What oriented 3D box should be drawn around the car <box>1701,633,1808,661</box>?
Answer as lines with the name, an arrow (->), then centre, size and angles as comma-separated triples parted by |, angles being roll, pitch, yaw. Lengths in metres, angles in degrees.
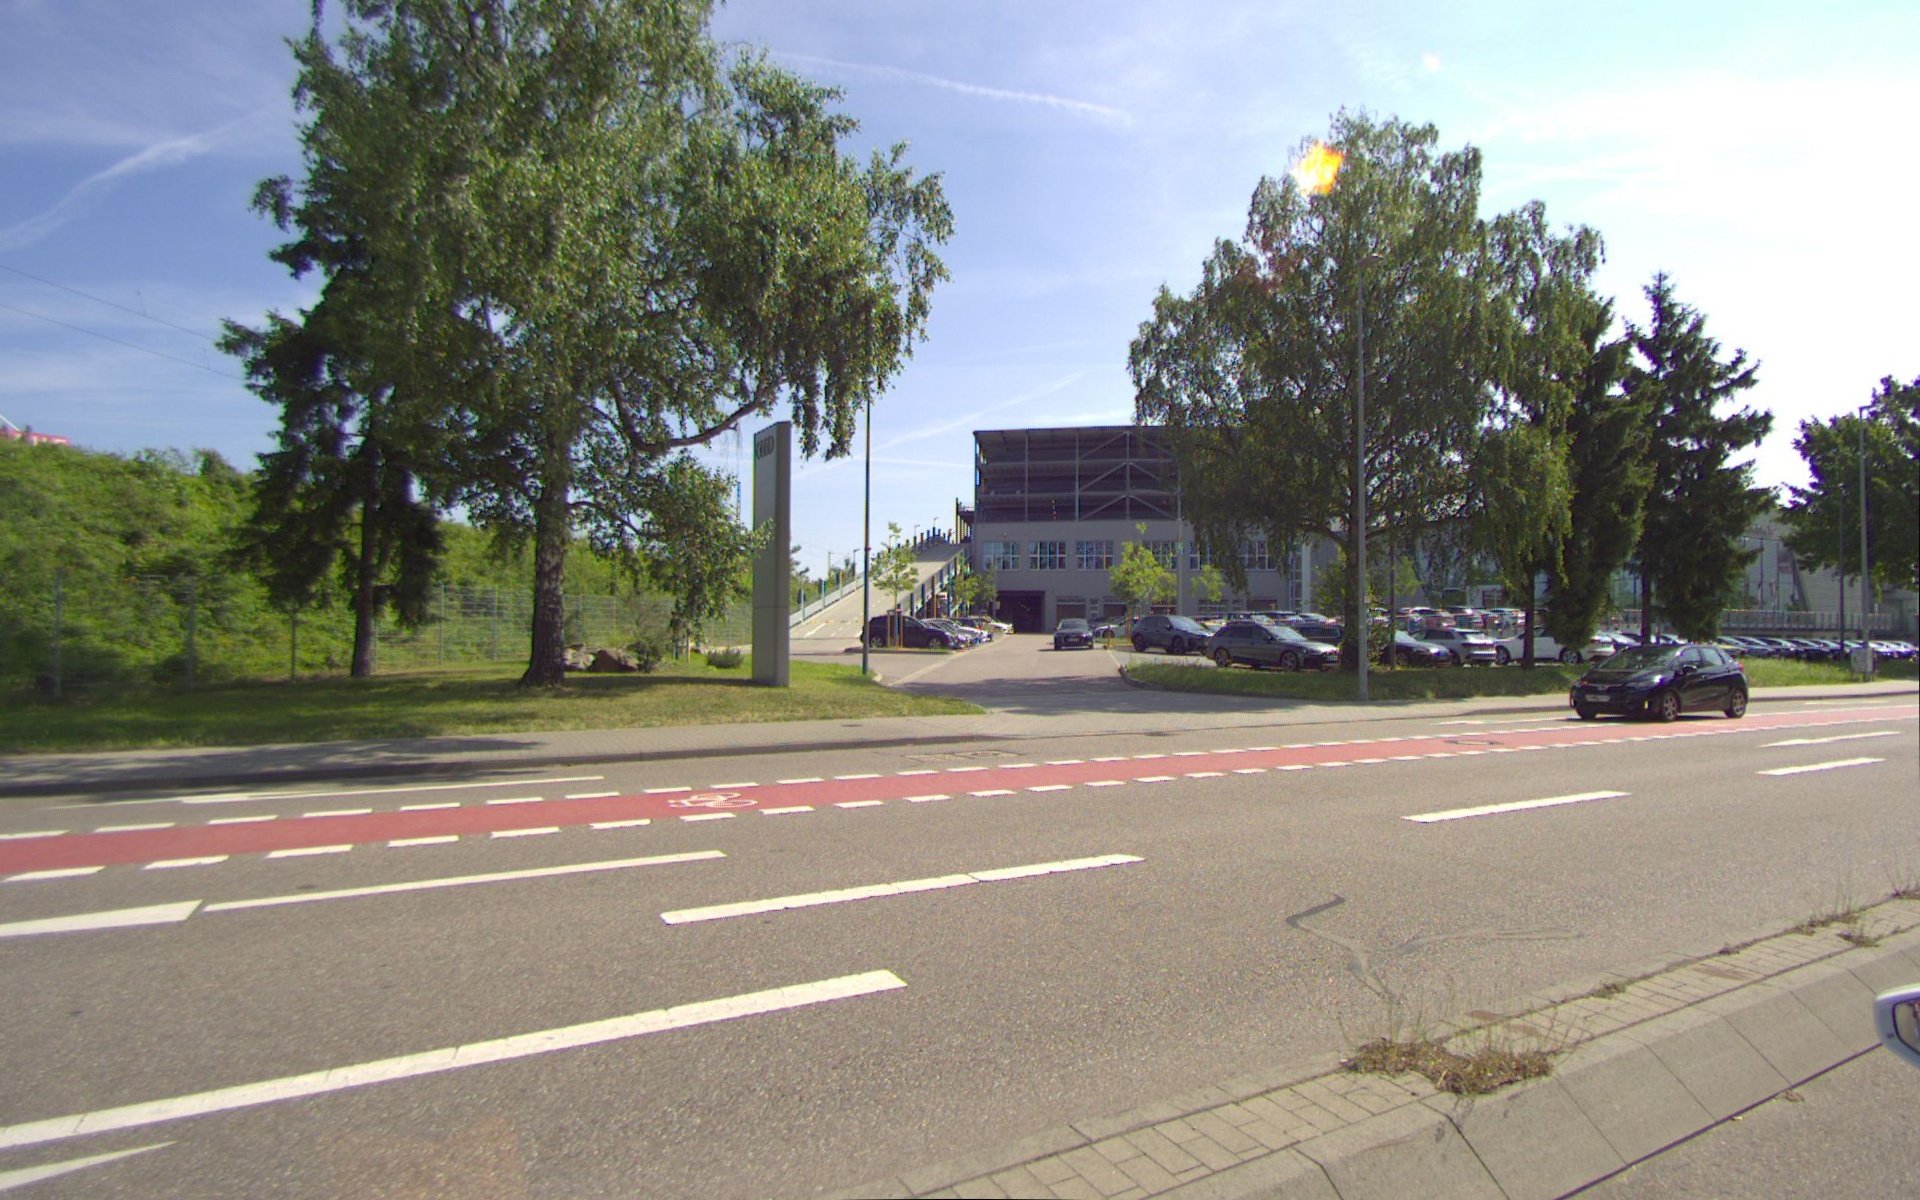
car -> 39.017, 2.335, 49.388 | 1.963, 1.302, 3.662 | 1, -4, -31

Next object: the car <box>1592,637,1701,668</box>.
car -> 30.188, 2.328, 44.250 | 1.724, 1.302, 3.577 | 1, -4, -31

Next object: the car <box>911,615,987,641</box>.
car -> -0.677, 1.846, 65.929 | 4.862, 1.569, 2.000 | 1, 0, 1

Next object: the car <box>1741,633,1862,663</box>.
car -> 43.753, 2.470, 52.338 | 1.898, 1.495, 4.477 | 1, -2, -31

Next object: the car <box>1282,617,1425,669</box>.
car -> 13.104, 1.396, 33.689 | 1.976, 1.567, 4.195 | 1, 0, -29

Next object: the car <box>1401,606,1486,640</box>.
car -> 30.115, 1.459, 62.690 | 1.957, 1.988, 4.477 | 1, -2, -31

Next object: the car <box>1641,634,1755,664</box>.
car -> 34.498, 2.308, 47.053 | 1.819, 1.358, 3.869 | 1, -4, -31

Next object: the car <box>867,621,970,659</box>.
car -> -1.906, 1.854, 47.322 | 4.666, 1.639, 2.001 | 1, 0, 3

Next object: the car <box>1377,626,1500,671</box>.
car -> 18.091, 1.796, 38.126 | 1.822, 1.506, 3.974 | 1, 0, -25

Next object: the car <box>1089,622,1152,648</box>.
car -> 10.627, 2.308, 66.843 | 3.920, 1.679, 2.001 | 0, -2, 2

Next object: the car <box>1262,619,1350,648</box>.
car -> 19.265, 1.855, 56.112 | 1.869, 1.437, 4.477 | 1, 0, -31

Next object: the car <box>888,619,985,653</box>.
car -> -1.140, 1.759, 50.043 | 4.666, 1.545, 2.001 | 1, 0, 3

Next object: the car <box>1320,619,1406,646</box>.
car -> 23.599, 1.914, 58.998 | 1.957, 1.504, 4.477 | 1, -2, -31

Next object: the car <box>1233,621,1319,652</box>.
car -> 17.042, 1.944, 54.404 | 1.978, 1.496, 4.179 | 1, 0, -32

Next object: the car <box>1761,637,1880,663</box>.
car -> 45.948, 2.653, 53.730 | 1.898, 1.307, 4.477 | 1, -2, -31

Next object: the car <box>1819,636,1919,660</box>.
car -> 52.168, 2.725, 57.307 | 1.898, 1.307, 4.477 | 1, -2, -31

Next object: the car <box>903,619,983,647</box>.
car -> -0.969, 1.971, 60.455 | 4.666, 1.567, 1.815 | 1, 0, 3

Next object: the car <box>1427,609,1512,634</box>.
car -> 32.476, 1.406, 64.146 | 1.957, 1.571, 4.477 | 1, -2, -31

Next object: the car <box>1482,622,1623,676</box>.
car -> 23.385, 1.888, 39.806 | 1.975, 1.900, 4.445 | 1, 0, -28

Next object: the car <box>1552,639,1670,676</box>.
car -> 26.986, 2.349, 41.755 | 1.724, 1.302, 3.772 | 1, 0, -31

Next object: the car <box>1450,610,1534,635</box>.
car -> 34.611, 1.488, 65.467 | 1.957, 1.504, 4.477 | 1, -2, -31

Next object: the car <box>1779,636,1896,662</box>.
car -> 47.687, 2.644, 54.675 | 1.898, 1.307, 4.477 | 1, -2, -31

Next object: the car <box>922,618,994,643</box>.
car -> -0.108, 2.084, 68.937 | 4.862, 1.569, 2.000 | 1, 0, 1

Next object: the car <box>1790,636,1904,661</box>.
car -> 49.573, 2.693, 56.238 | 1.672, 1.307, 4.477 | 1, -2, -31

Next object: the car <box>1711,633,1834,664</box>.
car -> 41.307, 2.432, 51.170 | 1.957, 1.495, 4.477 | 1, -2, -31

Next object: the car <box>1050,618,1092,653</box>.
car -> 5.283, 1.659, 48.281 | 1.628, 1.567, 4.037 | 1, -1, 1

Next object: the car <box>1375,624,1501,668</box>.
car -> 16.816, 1.582, 35.478 | 1.795, 1.389, 3.664 | 1, 0, -29

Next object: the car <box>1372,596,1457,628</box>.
car -> 27.761, 0.771, 61.510 | 1.957, 1.839, 4.477 | 1, -2, -31

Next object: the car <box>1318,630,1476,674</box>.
car -> 15.011, 1.737, 34.775 | 1.976, 1.285, 4.830 | 1, 0, -29

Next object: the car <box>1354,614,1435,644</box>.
car -> 25.742, 1.707, 59.639 | 1.646, 1.728, 4.247 | 1, -2, -31

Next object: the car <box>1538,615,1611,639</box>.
car -> 41.888, 1.810, 68.521 | 1.648, 1.516, 3.969 | 1, 0, -29

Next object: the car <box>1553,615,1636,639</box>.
car -> 43.998, 1.850, 69.731 | 1.962, 1.515, 4.499 | 1, 0, -29

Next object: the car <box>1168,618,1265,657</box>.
car -> 11.499, 1.664, 45.276 | 1.784, 1.585, 4.221 | 1, 0, -30

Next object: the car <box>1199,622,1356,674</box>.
car -> 9.938, 1.471, 31.840 | 1.976, 1.408, 4.666 | 1, 0, -29

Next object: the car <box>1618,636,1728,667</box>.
car -> 32.321, 2.350, 45.615 | 1.644, 1.302, 3.724 | 1, -4, -31

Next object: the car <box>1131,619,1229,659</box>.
car -> 9.529, 1.657, 43.789 | 1.784, 1.585, 4.221 | 1, 0, -30

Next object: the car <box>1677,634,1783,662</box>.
car -> 36.880, 2.307, 48.189 | 1.844, 1.302, 3.577 | 1, -4, -31

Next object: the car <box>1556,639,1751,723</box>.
car -> 14.046, 1.585, 20.306 | 3.980, 1.538, 1.690 | 1, -3, -30

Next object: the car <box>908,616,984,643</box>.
car -> -0.868, 1.834, 63.444 | 4.666, 1.567, 1.815 | 1, 0, 3

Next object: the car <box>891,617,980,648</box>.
car -> -1.303, 1.760, 54.914 | 4.666, 1.567, 1.815 | 1, 0, 3

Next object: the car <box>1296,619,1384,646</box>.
car -> 21.824, 1.866, 57.847 | 1.957, 1.504, 4.477 | 1, -2, -31
